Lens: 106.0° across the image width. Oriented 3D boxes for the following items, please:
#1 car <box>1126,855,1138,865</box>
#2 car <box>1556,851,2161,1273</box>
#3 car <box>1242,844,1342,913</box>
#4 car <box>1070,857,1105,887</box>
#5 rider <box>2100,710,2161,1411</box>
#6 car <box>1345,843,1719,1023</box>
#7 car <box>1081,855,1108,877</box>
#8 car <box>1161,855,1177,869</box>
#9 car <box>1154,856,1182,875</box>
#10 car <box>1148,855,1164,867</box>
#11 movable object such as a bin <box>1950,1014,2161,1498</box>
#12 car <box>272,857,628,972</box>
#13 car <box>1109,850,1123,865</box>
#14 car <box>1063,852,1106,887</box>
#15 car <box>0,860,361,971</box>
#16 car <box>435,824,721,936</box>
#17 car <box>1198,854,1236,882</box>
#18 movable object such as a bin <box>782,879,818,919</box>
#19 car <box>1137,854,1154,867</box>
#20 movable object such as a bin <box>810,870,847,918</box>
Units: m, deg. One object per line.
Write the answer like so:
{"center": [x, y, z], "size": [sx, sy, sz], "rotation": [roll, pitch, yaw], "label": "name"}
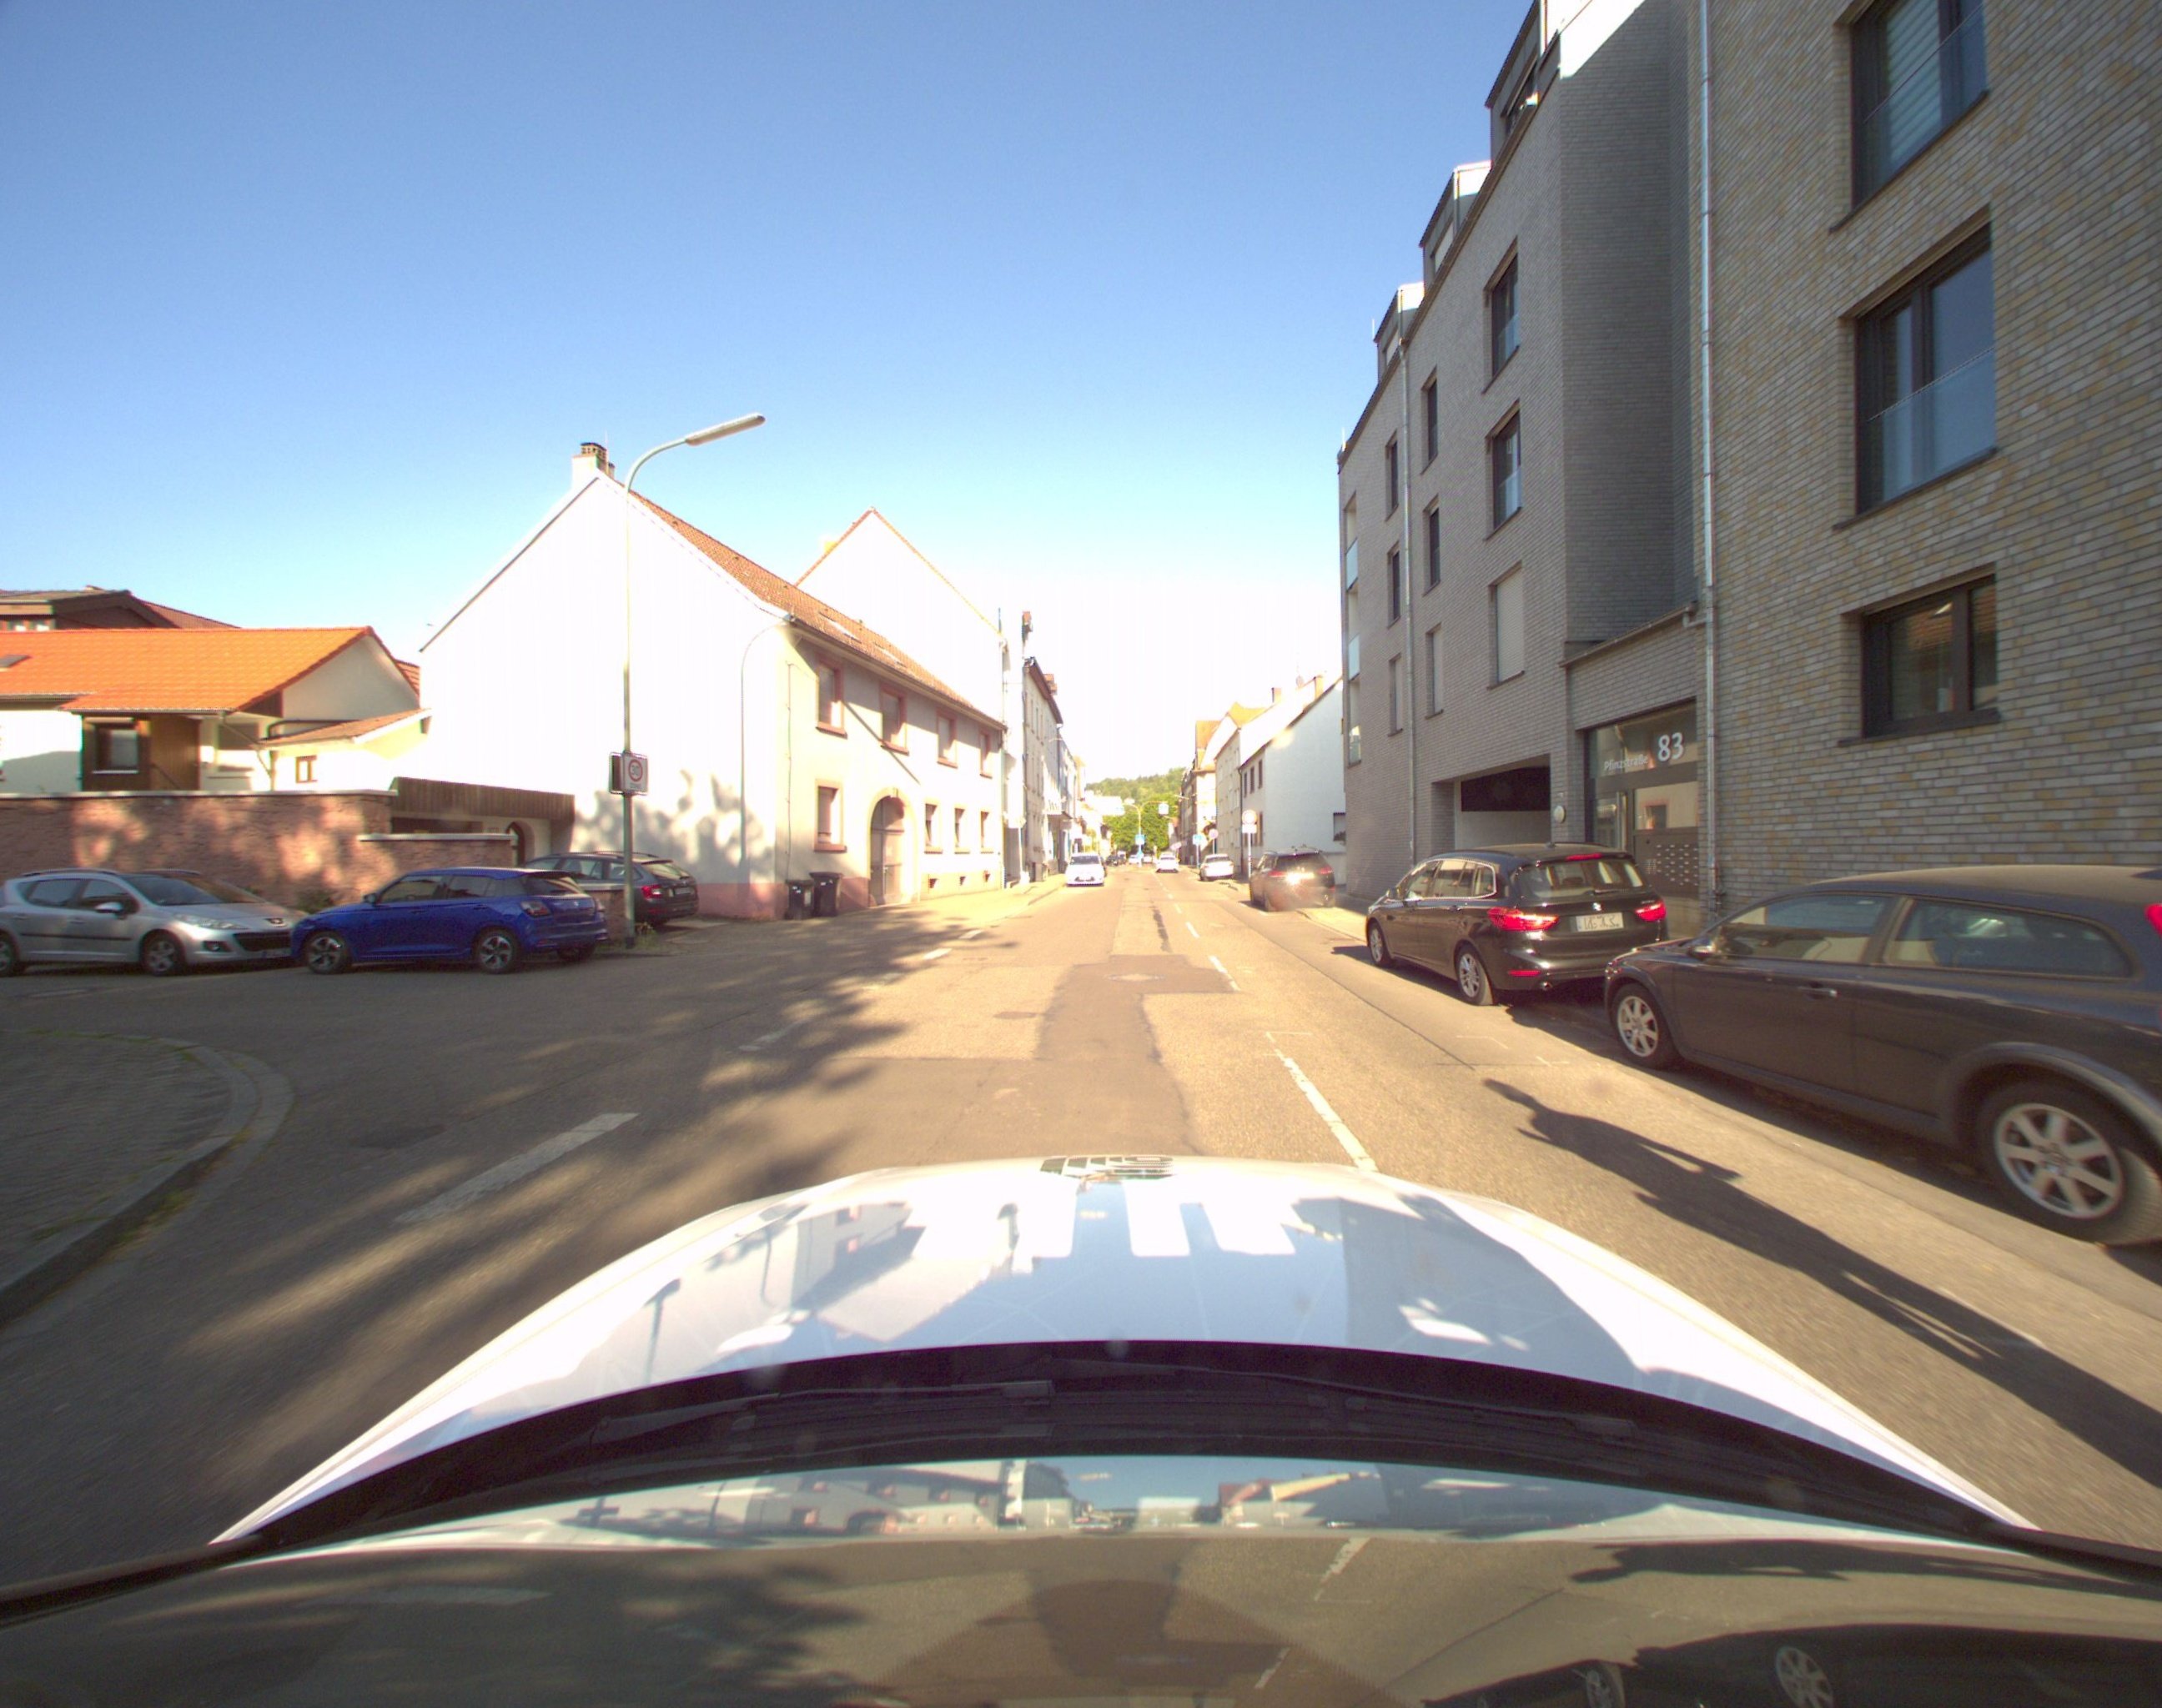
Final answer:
{"center": [8.933, 1.002, 142.224], "size": [1.801, 1.701, 4.191], "rotation": [-2, 0, 0], "label": "car"}
{"center": [4.985, 0.749, 4.797], "size": [1.985, 1.505, 4.369], "rotation": [0, 0, 2], "label": "car"}
{"center": [5.762, 0.605, 22.816], "size": [1.846, 1.636, 4.628], "rotation": [-3, 0, 4], "label": "car"}
{"center": [0.409, 0.977, 45.126], "size": [1.758, 1.495, 4.128], "rotation": [-3, 0, 2], "label": "car"}
{"center": [2.737, 0.454, 1.392], "size": [0.651, 1.562, 1.083], "rotation": [3, -2, 1], "label": "rider"}
{"center": [4.946, 0.708, 9.916], "size": [1.986, 1.653, 4.763], "rotation": [0, 0, 1], "label": "car"}
{"center": [0.977, 0.837, 56.945], "size": [1.724, 1.499, 3.961], "rotation": [-1, -1, 3], "label": "car"}
{"center": [11.975, 1.108, 110.897], "size": [2.003, 1.853, 4.003], "rotation": [1, 0, 2], "label": "car"}
{"center": [7.045, 0.949, 66.402], "size": [1.986, 1.466, 4.001], "rotation": [-1, 0, 1], "label": "car"}
{"center": [12.894, 1.159, 139.567], "size": [1.991, 2.013, 3.992], "rotation": [0, 0, -5], "label": "car"}
{"center": [2.731, 0.970, 1.443], "size": [0.453, 1.033, 1.840], "rotation": [3, -2, 2], "label": "movable object such as a bin"}
{"center": [-9.178, 0.821, 12.099], "size": [3.751, 1.530, 2.002], "rotation": [0, 0, 3], "label": "car"}
{"center": [4.971, 0.501, 117.150], "size": [1.986, 2.013, 4.002], "rotation": [0, 0, 2], "label": "car"}
{"center": [0.204, 0.715, 40.406], "size": [1.987, 1.648, 5.222], "rotation": [0, 0, 1], "label": "car"}
{"center": [-13.739, 0.854, 12.310], "size": [3.969, 1.500, 2.002], "rotation": [0, 0, 3], "label": "car"}
{"center": [-9.676, 0.432, 15.893], "size": [4.343, 1.794, 1.991], "rotation": [3, 2, 4], "label": "car"}
{"center": [7.665, 0.765, 46.160], "size": [1.733, 1.492, 4.444], "rotation": [-2, 0, 4], "label": "car"}
{"center": [-6.373, 1.023, 18.501], "size": [0.596, 0.872, 0.606], "rotation": [0, 0, 1], "label": "movable object such as a bin"}
{"center": [9.671, 0.972, 121.822], "size": [1.990, 2.013, 3.994], "rotation": [-1, 0, -4], "label": "car"}
{"center": [-6.026, 0.941, 19.460], "size": [0.596, 1.094, 0.752], "rotation": [1, 0, 4], "label": "movable object such as a bin"}
